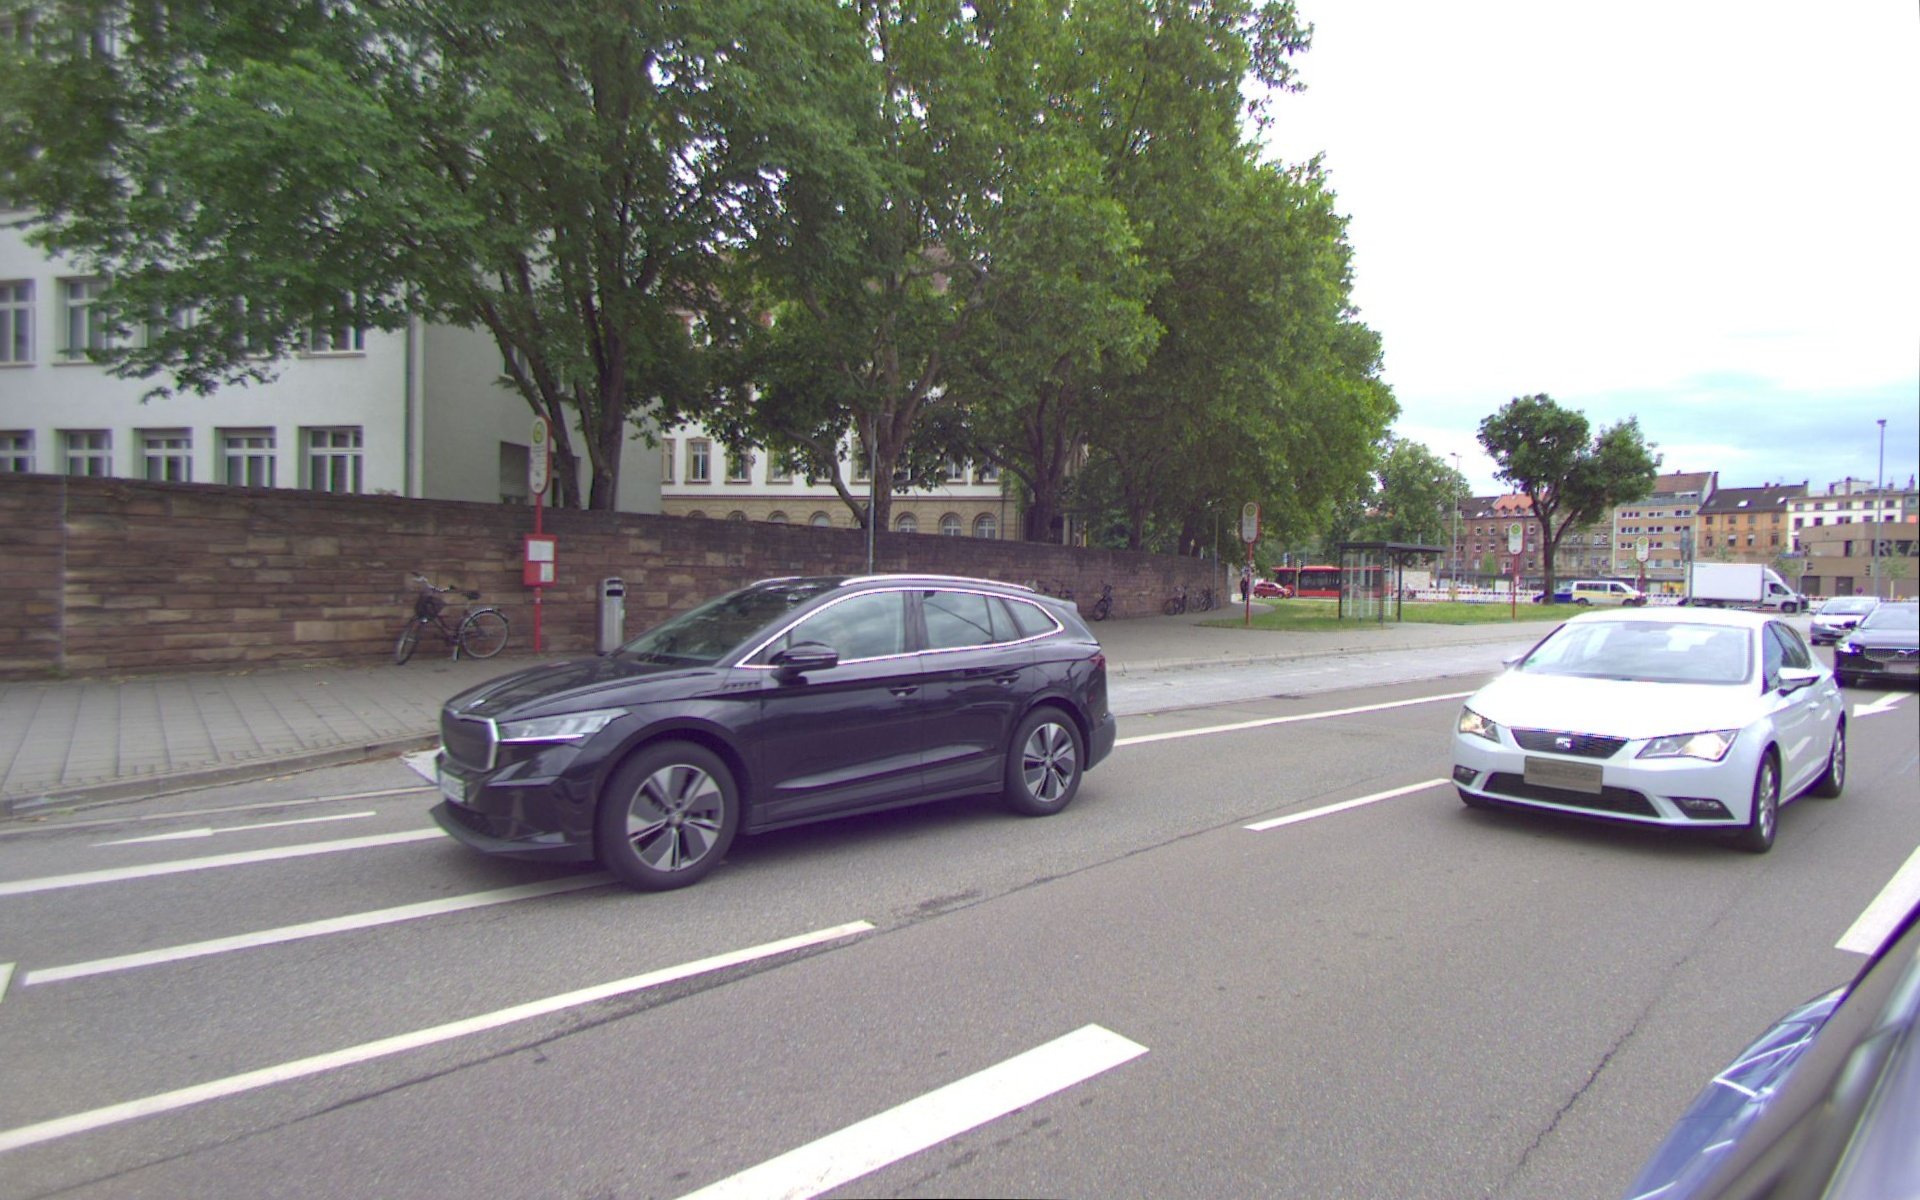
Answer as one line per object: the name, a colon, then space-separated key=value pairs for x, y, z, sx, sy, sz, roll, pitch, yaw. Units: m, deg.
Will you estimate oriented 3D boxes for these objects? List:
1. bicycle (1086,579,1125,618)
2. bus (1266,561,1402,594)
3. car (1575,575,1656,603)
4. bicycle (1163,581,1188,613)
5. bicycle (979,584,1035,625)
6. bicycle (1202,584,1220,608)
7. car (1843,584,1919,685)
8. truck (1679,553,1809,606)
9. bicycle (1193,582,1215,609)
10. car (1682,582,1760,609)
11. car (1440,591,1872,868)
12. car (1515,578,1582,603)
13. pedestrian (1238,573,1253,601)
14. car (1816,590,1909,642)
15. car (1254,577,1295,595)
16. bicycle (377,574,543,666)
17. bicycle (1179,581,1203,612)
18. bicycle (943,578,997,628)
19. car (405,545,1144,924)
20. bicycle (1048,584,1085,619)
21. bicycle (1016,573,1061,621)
bicycle: x=4.411 y=-0.054 z=30.542 sx=0.593 sy=1.118 sz=1.638 roll=3 pitch=2 yaw=29
bus: x=35.225 y=-2.131 z=95.982 sx=2.889 sy=2.944 sz=12.067 roll=0 pitch=1 yaw=-44
car: x=48.328 y=-0.846 z=74.688 sx=1.889 sy=1.942 sz=4.704 roll=-4 pitch=4 yaw=-44
bicycle: x=8.134 y=-0.121 z=38.147 sx=0.589 sy=1.150 sz=1.700 roll=3 pitch=2 yaw=23
bicycle: x=1.209 y=0.095 z=25.744 sx=0.650 sy=0.963 sz=1.750 roll=3 pitch=3 yaw=31
bicycle: x=11.016 y=-0.173 z=44.342 sx=0.544 sy=1.004 sz=1.626 roll=3 pitch=2 yaw=20
car: x=16.947 y=0.539 z=17.616 sx=4.371 sy=1.620 sz=1.885 roll=0 pitch=0 yaw=-42
truck: x=53.641 y=-1.463 z=69.389 sx=6.835 sy=3.453 sz=2.520 roll=1 pitch=3 yaw=45
bicycle: x=10.330 y=-0.208 z=42.771 sx=0.589 sy=1.072 sz=1.700 roll=3 pitch=2 yaw=23
car: x=54.830 y=-0.325 z=72.947 sx=4.274 sy=1.657 sz=1.663 roll=5 pitch=3 yaw=44
car: x=5.235 y=0.686 z=7.423 sx=3.804 sy=1.481 sz=1.784 roll=0 pitch=1 yaw=-42
car: x=47.856 y=-0.809 z=82.362 sx=4.413 sy=1.767 sz=1.739 roll=4 pitch=3 yaw=40
pedestrian: x=18.242 y=-0.840 z=64.660 sx=0.745 sy=1.756 sz=0.821 roll=3 pitch=2 yaw=10
car: x=27.465 y=0.436 z=30.776 sx=3.596 sy=1.484 sz=1.669 roll=-1 pitch=1 yaw=-41
car: x=29.499 y=-1.319 z=94.986 sx=3.422 sy=1.399 sz=1.266 roll=2 pitch=-6 yaw=44
bicycle: x=-6.929 y=0.236 z=14.107 sx=0.845 sy=1.141 sz=1.900 roll=4 pitch=3 yaw=34
bicycle: x=9.041 y=-0.160 z=39.625 sx=0.589 sy=1.143 sz=1.700 roll=3 pitch=2 yaw=23
bicycle: x=0.251 y=0.042 z=24.107 sx=0.712 sy=1.113 sz=1.781 roll=3 pitch=2 yaw=20
car: x=-0.929 y=0.564 z=6.589 sx=4.414 sy=1.645 sz=1.910 roll=0 pitch=0 yaw=-42
bicycle: x=3.029 y=0.032 z=28.790 sx=0.414 sy=0.954 sz=1.508 roll=3 pitch=2 yaw=31
bicycle: x=2.132 y=-0.087 z=27.297 sx=0.497 sy=1.236 sz=1.609 roll=3 pitch=2 yaw=31
